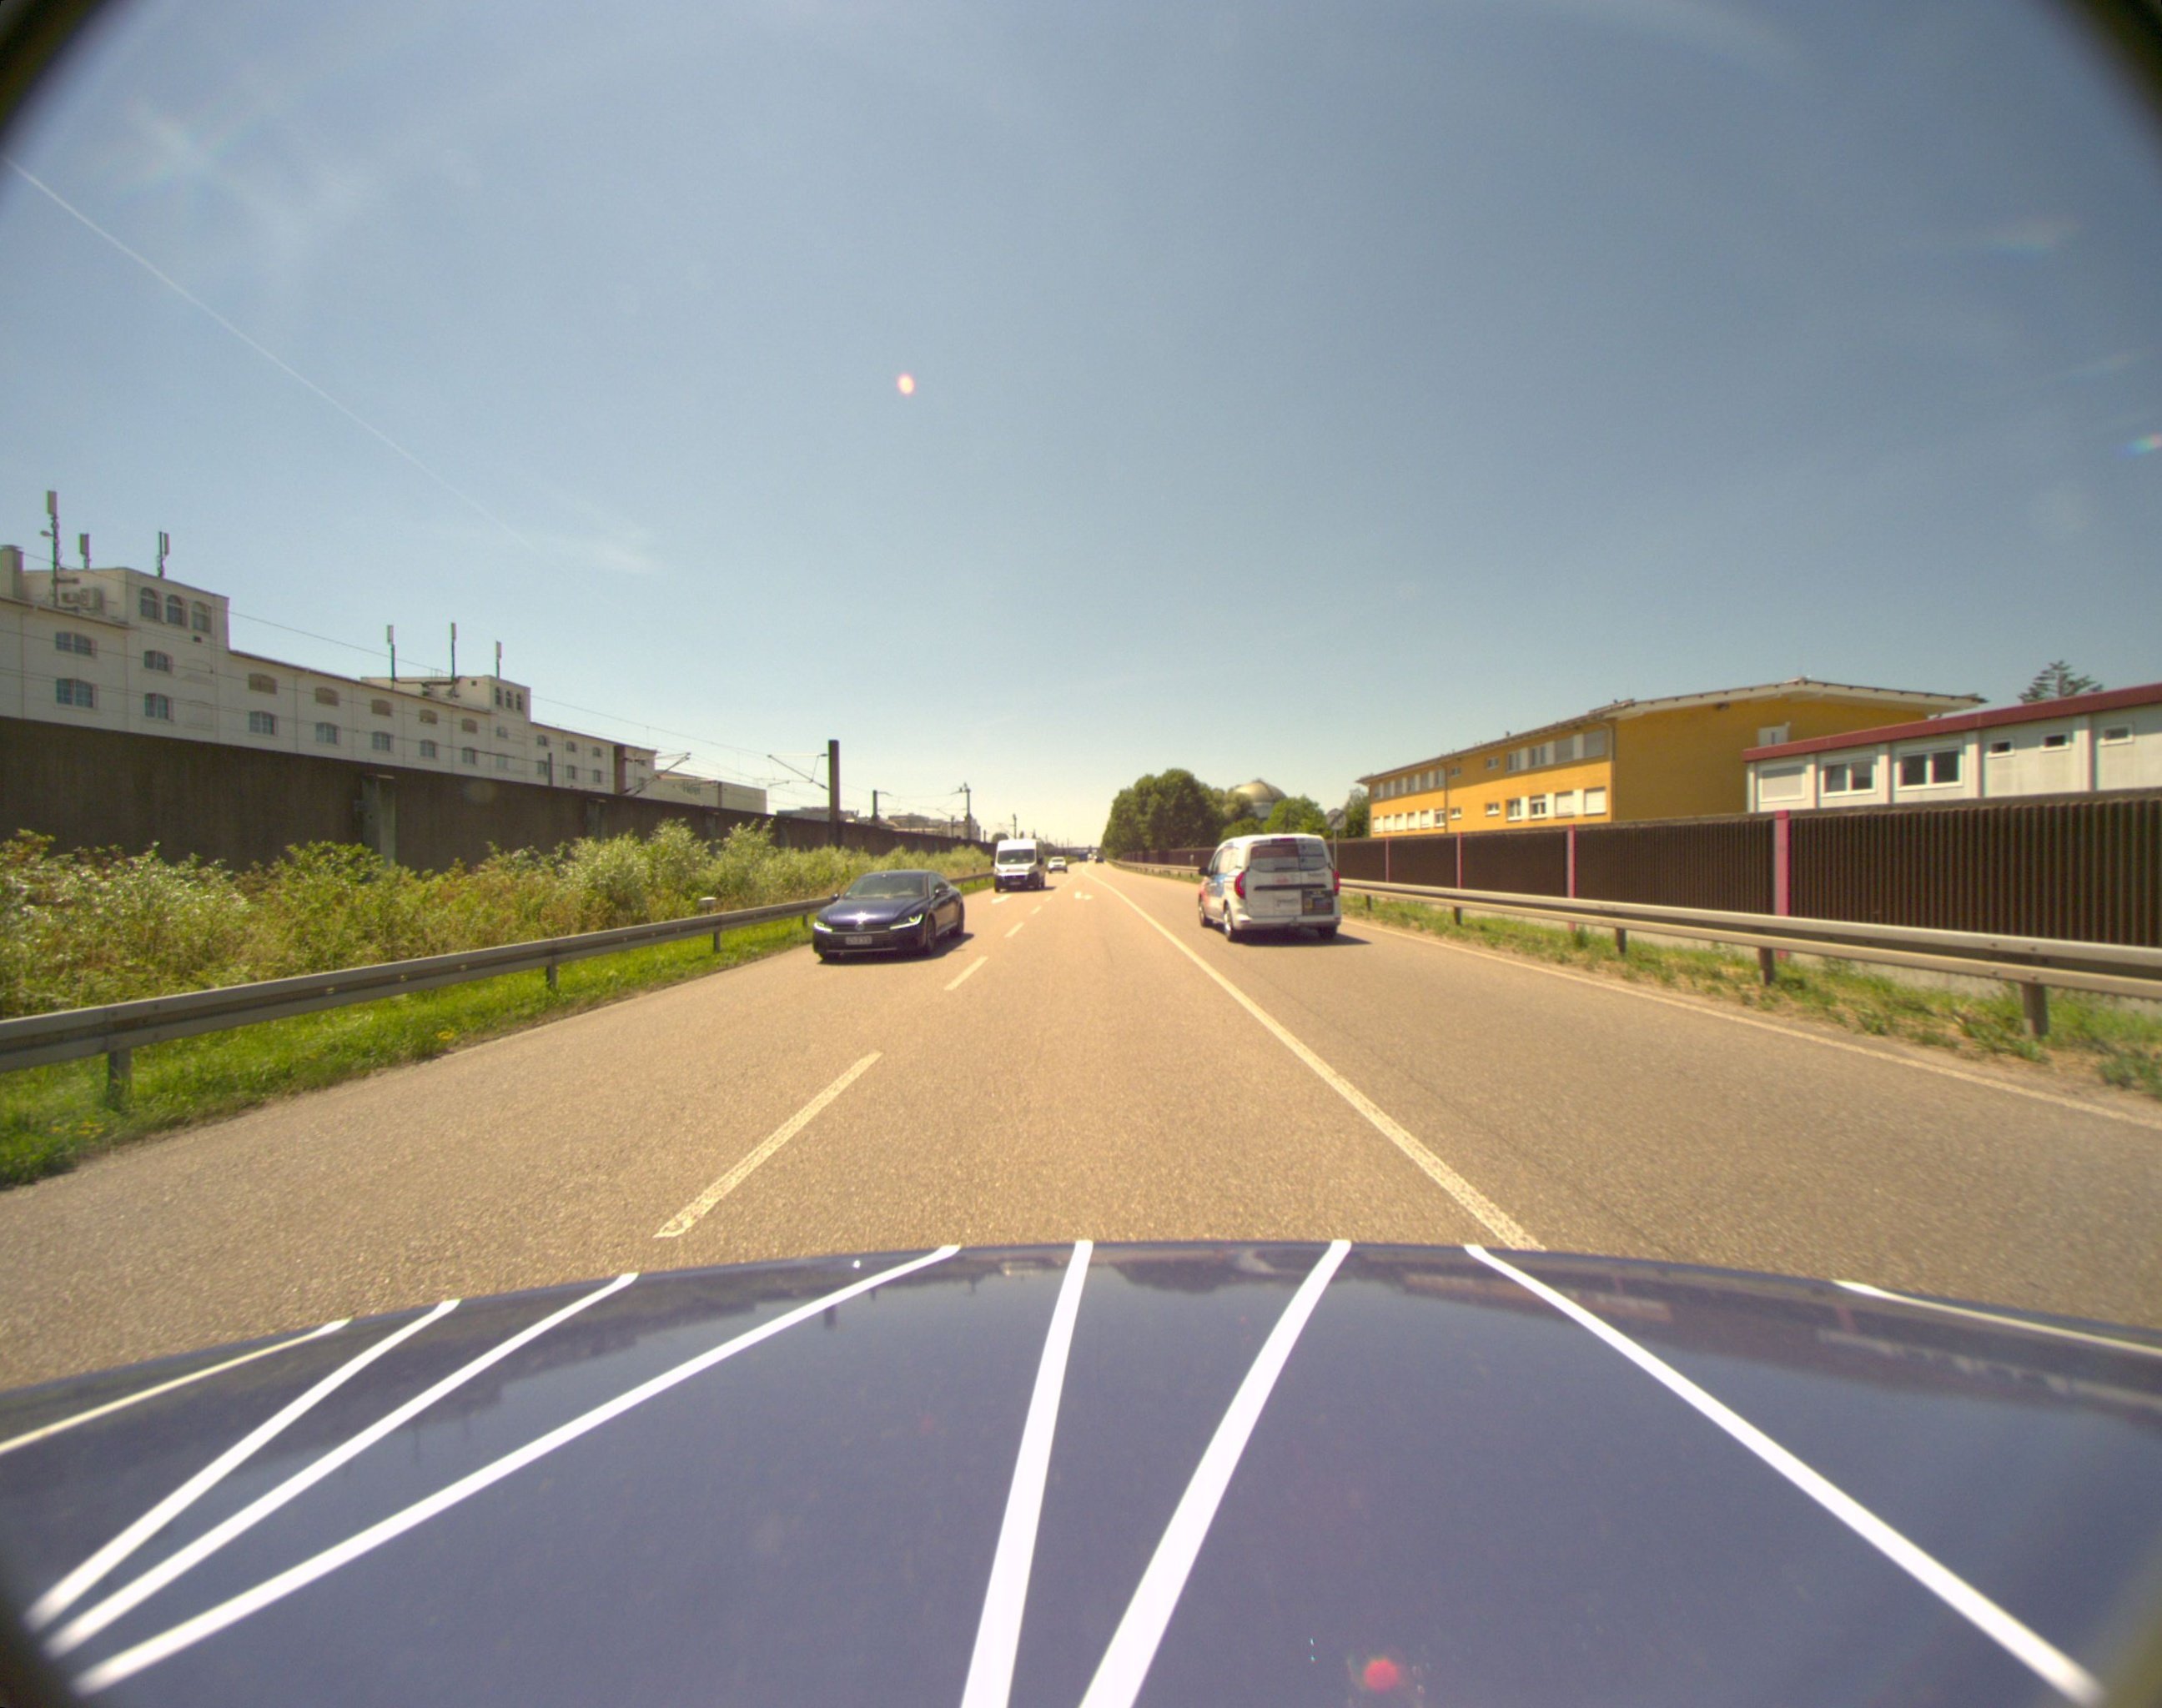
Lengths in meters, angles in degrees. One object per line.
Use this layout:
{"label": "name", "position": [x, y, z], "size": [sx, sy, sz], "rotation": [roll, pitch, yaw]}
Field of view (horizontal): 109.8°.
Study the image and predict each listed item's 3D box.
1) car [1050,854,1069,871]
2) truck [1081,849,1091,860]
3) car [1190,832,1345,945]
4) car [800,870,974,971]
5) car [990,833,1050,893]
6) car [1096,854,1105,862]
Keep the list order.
{"label": "car", "position": [-2.094, 0.857, 75.091], "size": [1.822, 1.554, 4.278], "rotation": [-2, 0, -1]}
{"label": "truck", "position": [1.364, 0.098, 208.961], "size": [2.616, 3.024, 10.656], "rotation": [-2, 0, 1]}
{"label": "car", "position": [3.298, 0.540, 14.438], "size": [1.892, 1.730, 4.777], "rotation": [-2, 0, 2]}
{"label": "car", "position": [-3.312, 1.073, 13.973], "size": [1.861, 1.371, 4.503], "rotation": [-3, 0, 2]}
{"label": "car", "position": [-2.856, 0.380, 37.373], "size": [2.194, 2.589, 6.750], "rotation": [-3, 0, 1]}
{"label": "car", "position": [3.917, 0.788, 152.981], "size": [1.849, 1.382, 4.190], "rotation": [-3, 0, 1]}
